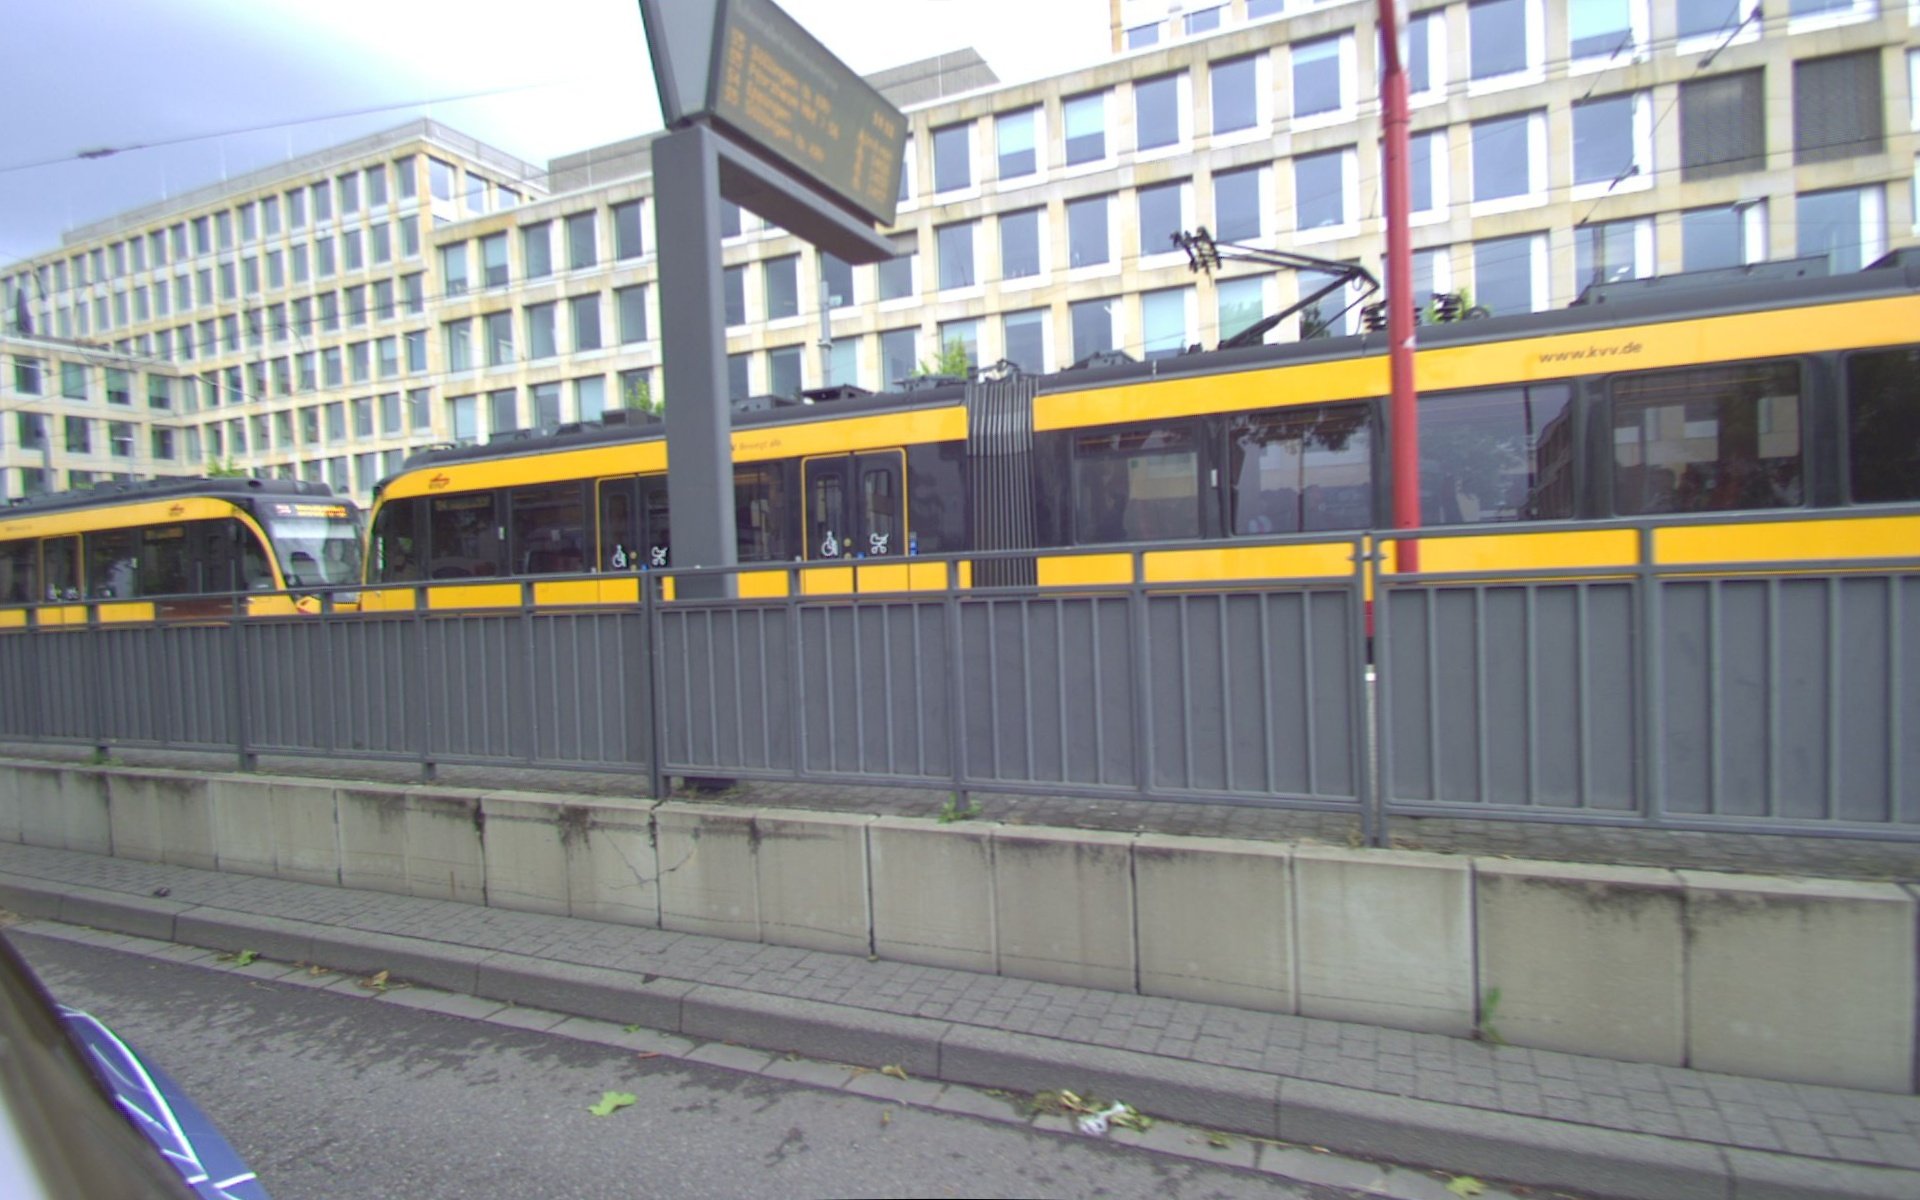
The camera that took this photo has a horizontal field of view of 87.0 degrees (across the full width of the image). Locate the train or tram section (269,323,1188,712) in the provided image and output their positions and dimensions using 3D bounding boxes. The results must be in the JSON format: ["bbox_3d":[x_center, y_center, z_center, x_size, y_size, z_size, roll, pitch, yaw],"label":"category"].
[{"bbox_3d":[-4.224,-0.788,15.447,14.644,4.210,3.165,-1,2,24],"label":"train or tram section"}]

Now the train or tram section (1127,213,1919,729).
[{"bbox_3d":[9.165,-1.120,9.421,14.644,4.210,3.165,-1,2,24],"label":"train or tram section"}]

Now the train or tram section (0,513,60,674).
[{"bbox_3d":[-28.509,-0.024,26.360,11.242,3.890,3.149,-1,2,24],"label":"train or tram section"}]

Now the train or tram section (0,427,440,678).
[{"bbox_3d":[-17.097,-0.696,21.223,13.537,4.210,3.165,-1,2,24],"label":"train or tram section"}]
